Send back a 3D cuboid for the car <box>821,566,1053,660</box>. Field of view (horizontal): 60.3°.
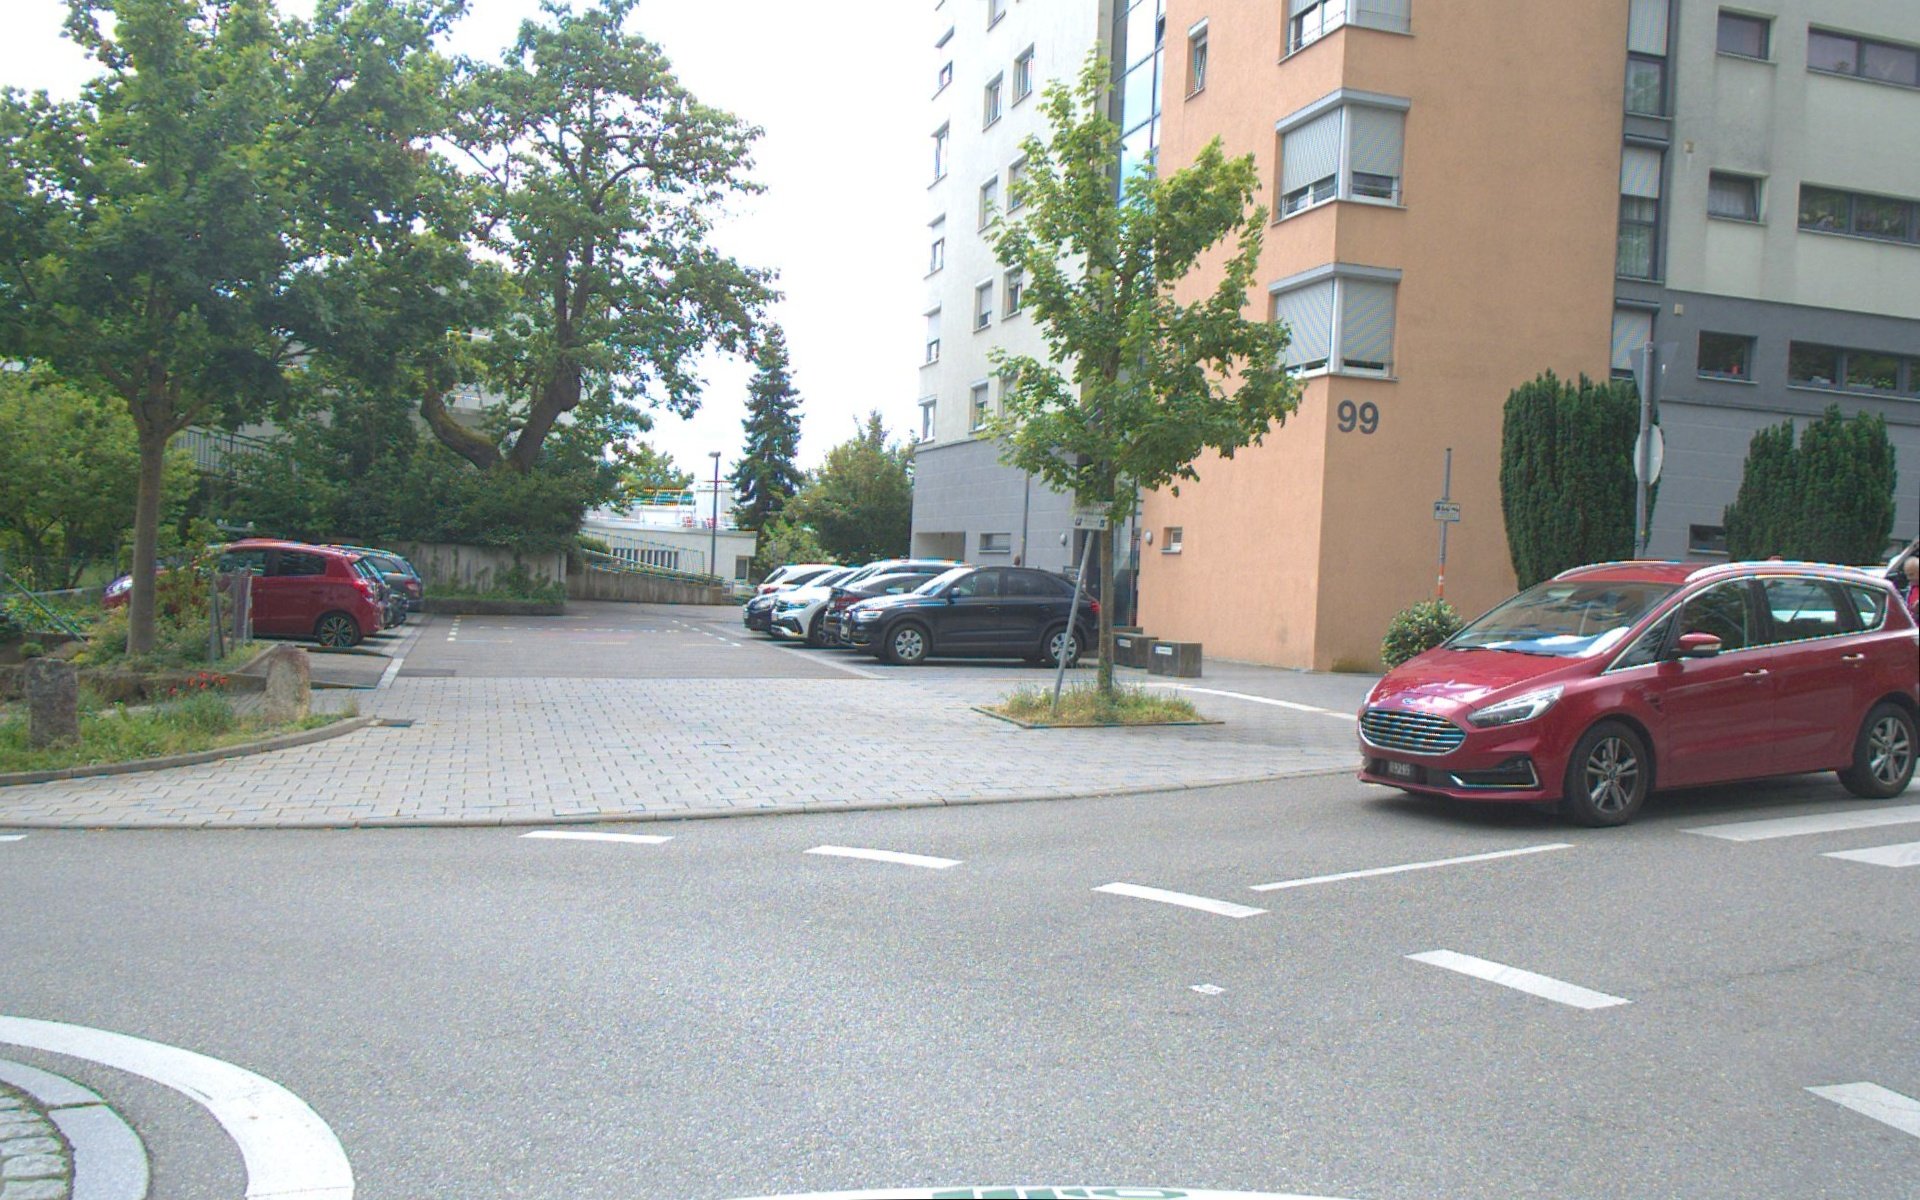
[{"bbox_3d":[-0.430,0.239,28.986,3.762,1.484,1.686,2,-1,-15],"label":"car"}]

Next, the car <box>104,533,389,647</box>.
[{"bbox_3d":[-10.171,-0.119,23.858,3.595,1.464,1.675,2,-1,-19],"label":"car"}]

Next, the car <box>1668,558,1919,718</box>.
[{"bbox_3d":[10.282,0.389,19.451,1.543,1.688,3.759,-1,0,-17],"label":"car"}]

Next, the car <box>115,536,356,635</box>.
[{"bbox_3d":[-12.342,-0.229,28.400,3.595,1.524,1.675,2,-1,-19],"label":"car"}]

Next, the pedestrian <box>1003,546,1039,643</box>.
[{"bbox_3d":[1.216,-0.109,32.898,0.472,1.885,0.503,2,-1,-27],"label":"pedestrian"}]

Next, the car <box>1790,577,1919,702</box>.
[{"bbox_3d":[12.308,0.463,20.346,1.611,1.508,3.759,-1,0,-17],"label":"car"}]

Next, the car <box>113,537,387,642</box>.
[{"bbox_3d":[-10.923,-0.140,25.725,3.730,1.446,1.675,2,-1,-19],"label":"car"}]

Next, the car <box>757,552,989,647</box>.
[{"bbox_3d":[-1.649,0.003,31.343,4.060,1.621,1.682,2,-1,-21],"label":"car"}]

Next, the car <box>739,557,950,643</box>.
[{"bbox_3d":[-2.349,0.016,33.333,3.973,1.544,1.749,2,-1,-15],"label":"car"}]

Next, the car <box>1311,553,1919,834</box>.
[{"bbox_3d":[4.901,0.526,11.823,4.467,1.673,1.963,-1,1,-27],"label":"car"}]

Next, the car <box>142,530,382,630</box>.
[{"bbox_3d":[-12.812,-0.341,30.581,3.931,1.642,1.932,2,-1,-22],"label":"car"}]

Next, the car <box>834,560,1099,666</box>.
[{"bbox_3d":[0.077,0.216,26.875,3.973,1.544,1.749,2,-1,-15],"label":"car"}]

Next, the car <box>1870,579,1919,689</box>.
[{"bbox_3d":[14.283,0.464,21.997,1.611,1.508,3.759,-1,0,-17],"label":"car"}]

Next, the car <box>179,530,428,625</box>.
[{"bbox_3d":[-13.132,-0.420,33.306,4.479,1.697,1.932,2,-1,-22],"label":"car"}]

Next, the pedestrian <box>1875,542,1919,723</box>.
[{"bbox_3d":[9.956,0.338,17.193,0.571,1.844,0.482,2,-1,-15],"label":"pedestrian"}]

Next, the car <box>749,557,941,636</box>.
[{"bbox_3d":[-2.540,-0.060,36.123,3.914,1.544,1.750,2,-1,-15],"label":"car"}]
